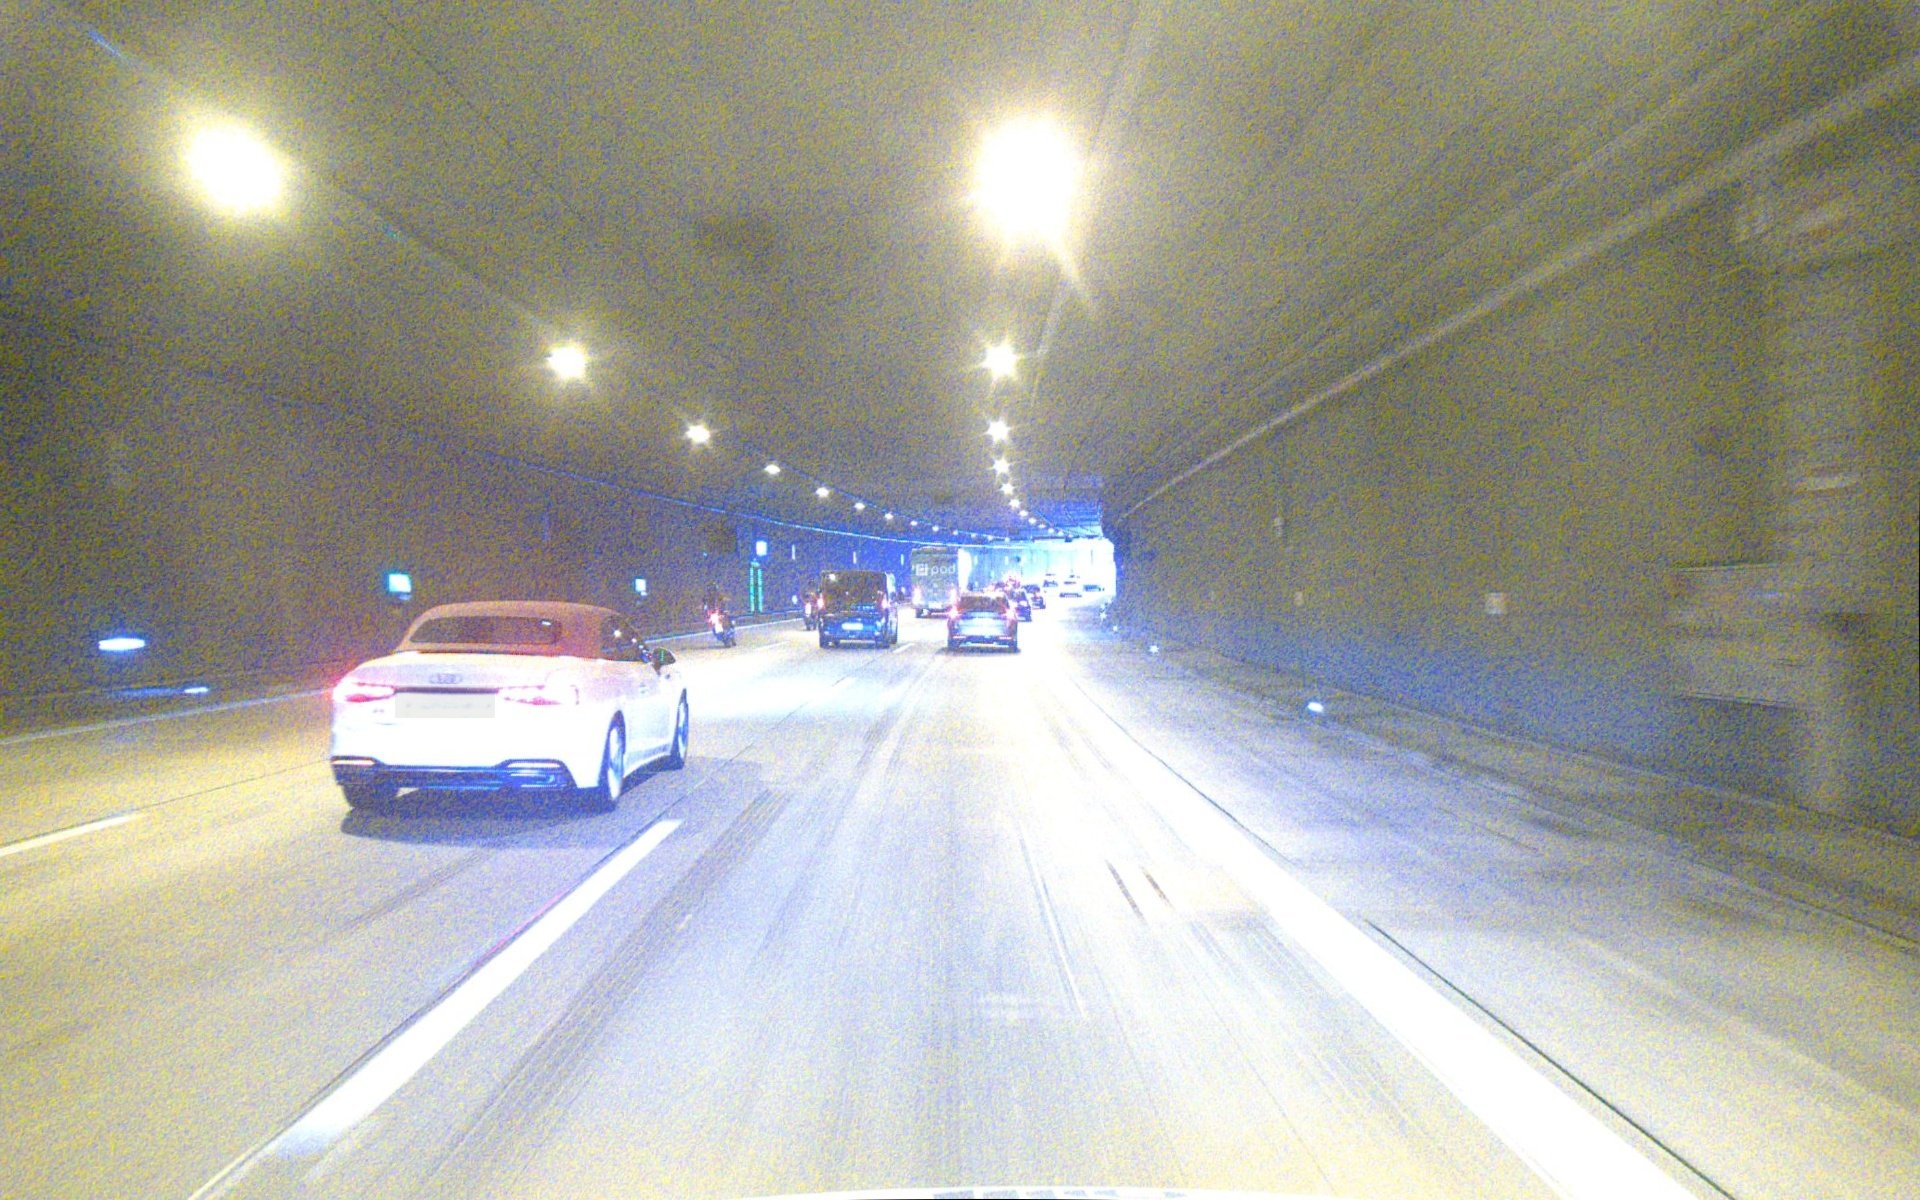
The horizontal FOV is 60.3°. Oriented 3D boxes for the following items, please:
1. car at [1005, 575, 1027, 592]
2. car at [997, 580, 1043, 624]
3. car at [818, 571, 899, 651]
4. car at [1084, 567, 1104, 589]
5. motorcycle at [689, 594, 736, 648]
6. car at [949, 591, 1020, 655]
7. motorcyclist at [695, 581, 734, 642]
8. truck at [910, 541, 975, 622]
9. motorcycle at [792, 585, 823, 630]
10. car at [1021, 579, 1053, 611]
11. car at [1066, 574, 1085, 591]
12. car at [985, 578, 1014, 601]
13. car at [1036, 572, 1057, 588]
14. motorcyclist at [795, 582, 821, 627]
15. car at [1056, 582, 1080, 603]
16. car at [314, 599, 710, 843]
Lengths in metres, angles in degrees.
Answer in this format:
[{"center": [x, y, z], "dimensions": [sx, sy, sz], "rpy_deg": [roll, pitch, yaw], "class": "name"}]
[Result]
[{"center": [5.489, -1.597, 161.753], "dimensions": [1.890, 1.671, 4.002], "rpy_deg": [1, 0, 5], "class": "car"}, {"center": [2.672, 0.085, 74.240], "dimensions": [1.819, 1.887, 3.999], "rpy_deg": [1, 0, -1], "class": "car"}, {"center": [-2.642, 0.249, 43.668], "dimensions": [1.870, 1.978, 3.871], "rpy_deg": [0, 1, 0], "class": "car"}, {"center": [13.479, -2.156, 166.414], "dimensions": [1.951, 2.049, 4.002], "rpy_deg": [1, -1, 5], "class": "car"}, {"center": [-6.180, 0.524, 41.421], "dimensions": [0.668, 1.320, 2.399], "rpy_deg": [1, -1, 3], "class": "motorcycle"}, {"center": [0.648, 0.548, 42.293], "dimensions": [1.706, 1.489, 3.872], "rpy_deg": [0, 1, 2], "class": "car"}, {"center": [-6.153, 0.296, 41.467], "dimensions": [0.761, 1.478, 1.069], "rpy_deg": [1, -1, 3], "class": "motorcyclist"}, {"center": [-0.931, -0.859, 80.516], "dimensions": [2.977, 3.737, 7.390], "rpy_deg": [1, 0, -2], "class": "truck"}, {"center": [-5.237, 0.281, 57.035], "dimensions": [0.908, 1.459, 2.961], "rpy_deg": [1, -1, -3], "class": "motorcycle"}, {"center": [4.644, -0.277, 100.186], "dimensions": [1.909, 1.803, 4.000], "rpy_deg": [1, -1, 2], "class": "car"}, {"center": [12.501, -1.889, 179.164], "dimensions": [1.951, 1.660, 4.002], "rpy_deg": [1, -1, 6], "class": "car"}, {"center": [2.972, -0.749, 124.305], "dimensions": [1.951, 1.660, 4.002], "rpy_deg": [1, 0, 5], "class": "car"}, {"center": [9.877, -2.262, 188.643], "dimensions": [1.889, 1.671, 4.003], "rpy_deg": [1, -1, 9], "class": "car"}, {"center": [-5.228, 0.164, 57.016], "dimensions": [0.790, 1.474, 1.864], "rpy_deg": [1, -2, -2], "class": "motorcyclist"}, {"center": [9.140, -0.625, 139.359], "dimensions": [1.890, 1.671, 4.002], "rpy_deg": [1, -1, 5], "class": "car"}, {"center": [-3.104, 0.736, 12.583], "dimensions": [1.667, 1.443, 5.059], "rpy_deg": [0, 0, -1], "class": "car"}]
